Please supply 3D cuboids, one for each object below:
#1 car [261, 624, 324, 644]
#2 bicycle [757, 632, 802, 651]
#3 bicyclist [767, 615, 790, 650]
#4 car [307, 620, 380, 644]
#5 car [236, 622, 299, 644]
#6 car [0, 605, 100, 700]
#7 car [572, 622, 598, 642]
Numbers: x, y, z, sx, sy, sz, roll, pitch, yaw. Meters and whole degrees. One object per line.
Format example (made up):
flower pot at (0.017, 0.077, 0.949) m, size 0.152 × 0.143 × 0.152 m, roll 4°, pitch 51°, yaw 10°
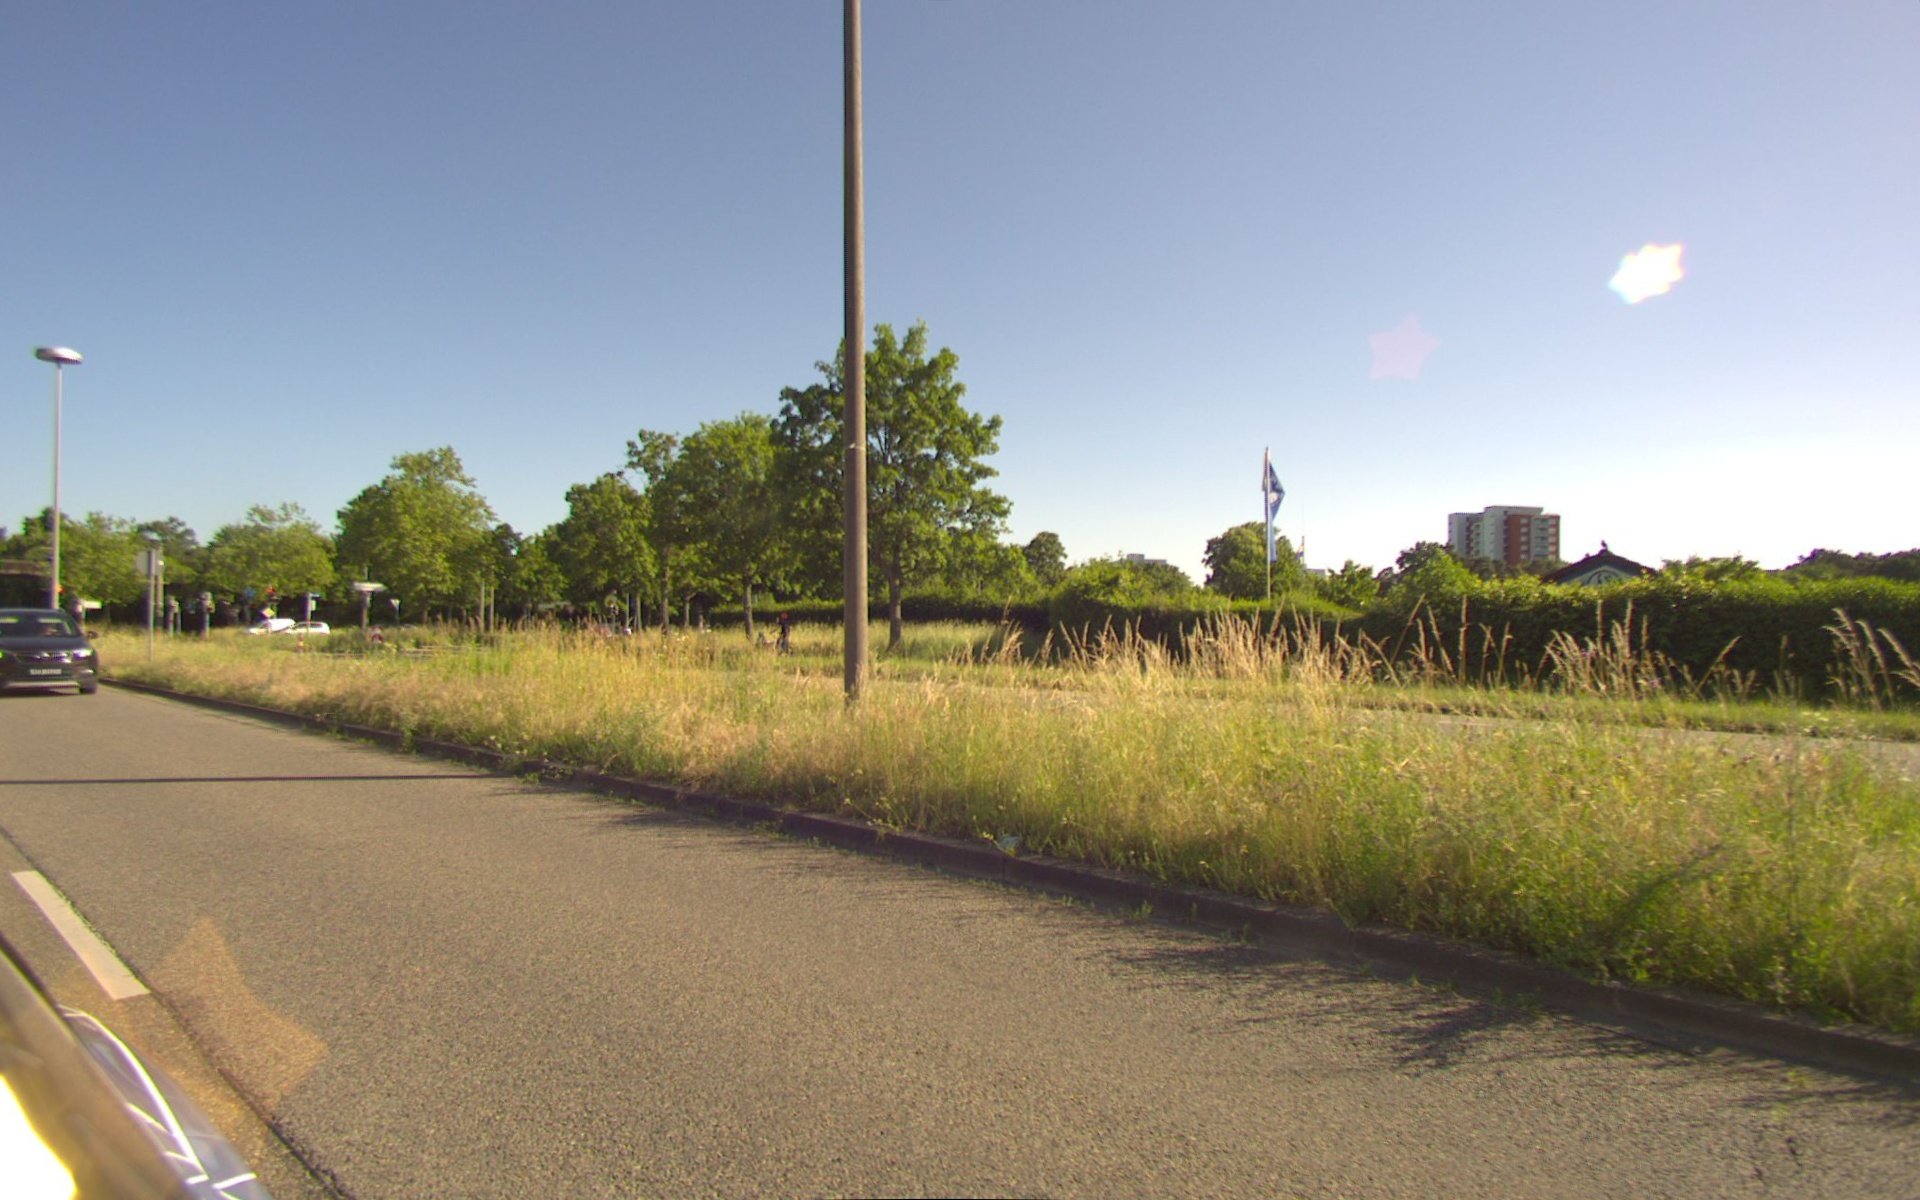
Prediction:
car at (-54.680, 2.788, 83.003) m, size 1.846 × 1.572 × 3.883 m, roll -1°, pitch -2°, yaw 32°
bicycle at (-6.578, 1.507, 36.847) m, size 1.873 × 0.700 × 0.559 m, roll -2°, pitch -3°, yaw 41°
bicyclist at (-6.612, 1.174, 36.884) m, size 0.575 × 1.266 × 0.577 m, roll -2°, pitch -3°, yaw 41°
car at (-41.775, 2.166, 68.705) m, size 1.759 × 1.498 × 4.518 m, roll 0°, pitch -2°, yaw 8°
car at (-57.721, 2.767, 84.459) m, size 1.772 × 1.768 × 3.956 m, roll -1°, pitch -2°, yaw 32°
car at (-18.184, 0.989, 19.600) m, size 3.854 × 1.675 × 1.692 m, roll -1°, pitch -3°, yaw 41°
car at (-30.897, 2.631, 83.473) m, size 1.816 × 1.583 × 4.400 m, roll 1°, pitch -2°, yaw -19°
